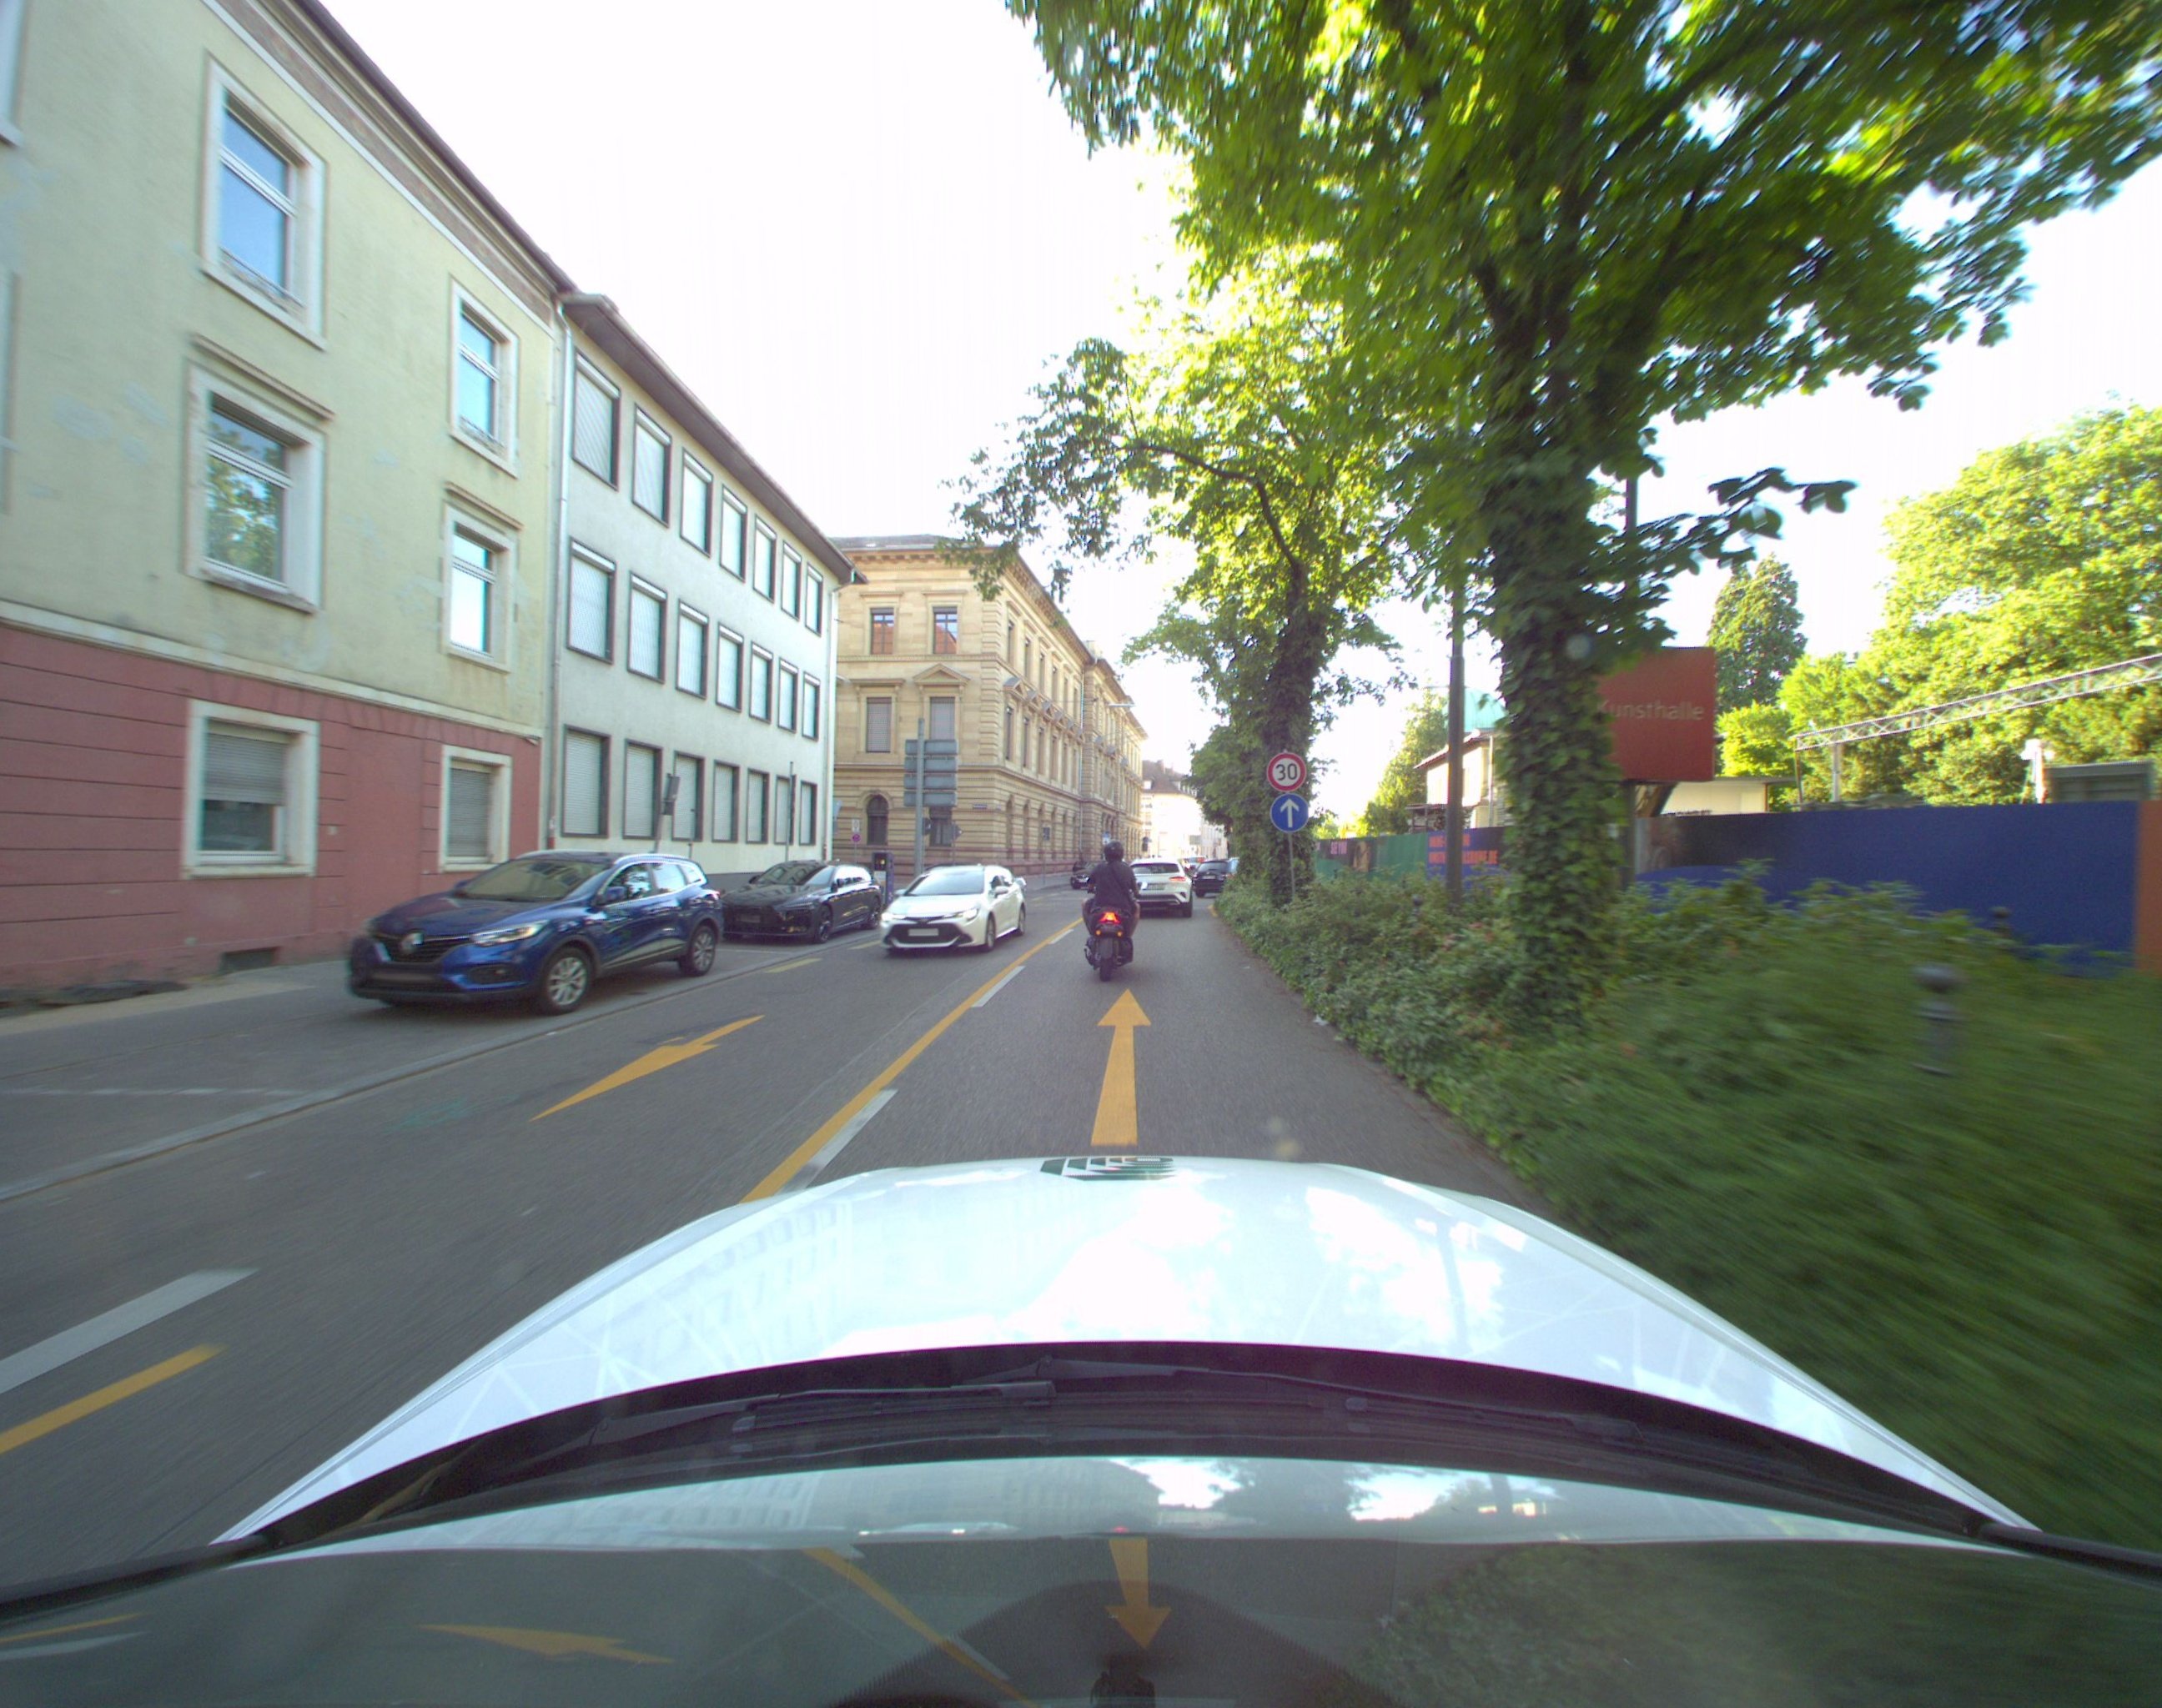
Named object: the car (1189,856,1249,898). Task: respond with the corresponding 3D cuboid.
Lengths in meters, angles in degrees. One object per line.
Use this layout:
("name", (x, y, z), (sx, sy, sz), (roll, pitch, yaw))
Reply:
("car", (5.358, 0.834, 31.262), (1.827, 1.463, 4.073), (2, 0, 15))

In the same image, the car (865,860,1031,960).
("car", (-2.183, 0.881, 14.676), (1.726, 1.421, 4.437), (-3, 0, 7))

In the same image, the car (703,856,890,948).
("car", (-5.459, 0.830, 16.408), (1.816, 1.503, 4.764), (2, 0, 3))

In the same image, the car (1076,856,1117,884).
("car", (0.972, 0.934, 48.408), (1.983, 1.567, 4.297), (0, 0, 7))

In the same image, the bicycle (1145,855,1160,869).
("bicycle", (5.522, 0.586, 62.466), (0.528, 1.035, 2.047), (0, 0, 23))

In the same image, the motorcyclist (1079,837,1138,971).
("motorcyclist", (0.364, 0.626, 10.536), (0.654, 1.650, 0.652), (2, 0, 6))

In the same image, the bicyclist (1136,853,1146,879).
("bicyclist", (3.825, 0.762, 52.075), (0.562, 1.667, 0.837), (0, 0, 9))

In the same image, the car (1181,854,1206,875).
("car", (9.230, 0.829, 66.844), (1.983, 1.695, 4.408), (0, 0, 7))

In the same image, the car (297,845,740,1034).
("car", (-5.941, 0.757, 9.445), (1.926, 1.667, 4.351), (0, 0, 3))

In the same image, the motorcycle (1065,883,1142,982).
("motorcycle", (0.329, 0.952, 10.438), (0.792, 1.066, 1.728), (2, 0, 7))

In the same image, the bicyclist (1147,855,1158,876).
("bicyclist", (5.499, 0.865, 62.528), (0.622, 1.554, 0.736), (0, 0, 23))

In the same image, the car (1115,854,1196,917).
("car", (2.063, 0.760, 21.580), (1.840, 1.480, 4.067), (-1, 0, 9))

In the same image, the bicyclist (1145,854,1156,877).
("bicyclist", (4.879, 0.820, 57.063), (0.623, 1.613, 0.873), (0, 0, 17))

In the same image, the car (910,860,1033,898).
("car", (-4.189, 0.924, 31.374), (4.284, 1.390, 1.782), (0, 0, 12))

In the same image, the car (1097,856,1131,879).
("car", (2.273, 0.874, 55.511), (1.983, 1.528, 4.193), (0, 0, 7))

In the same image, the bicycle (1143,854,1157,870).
("bicycle", (4.829, 0.549, 57.073), (0.529, 1.035, 1.916), (0, 0, 18))

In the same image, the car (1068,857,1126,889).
("car", (0.850, 0.896, 39.873), (1.757, 1.461, 4.488), (0, 0, 15))

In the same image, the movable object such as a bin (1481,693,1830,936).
("movable object such as a bin", (12.729, -0.750, 19.275), (3.291, 4.539, 7.917), (0, 0, 6))
